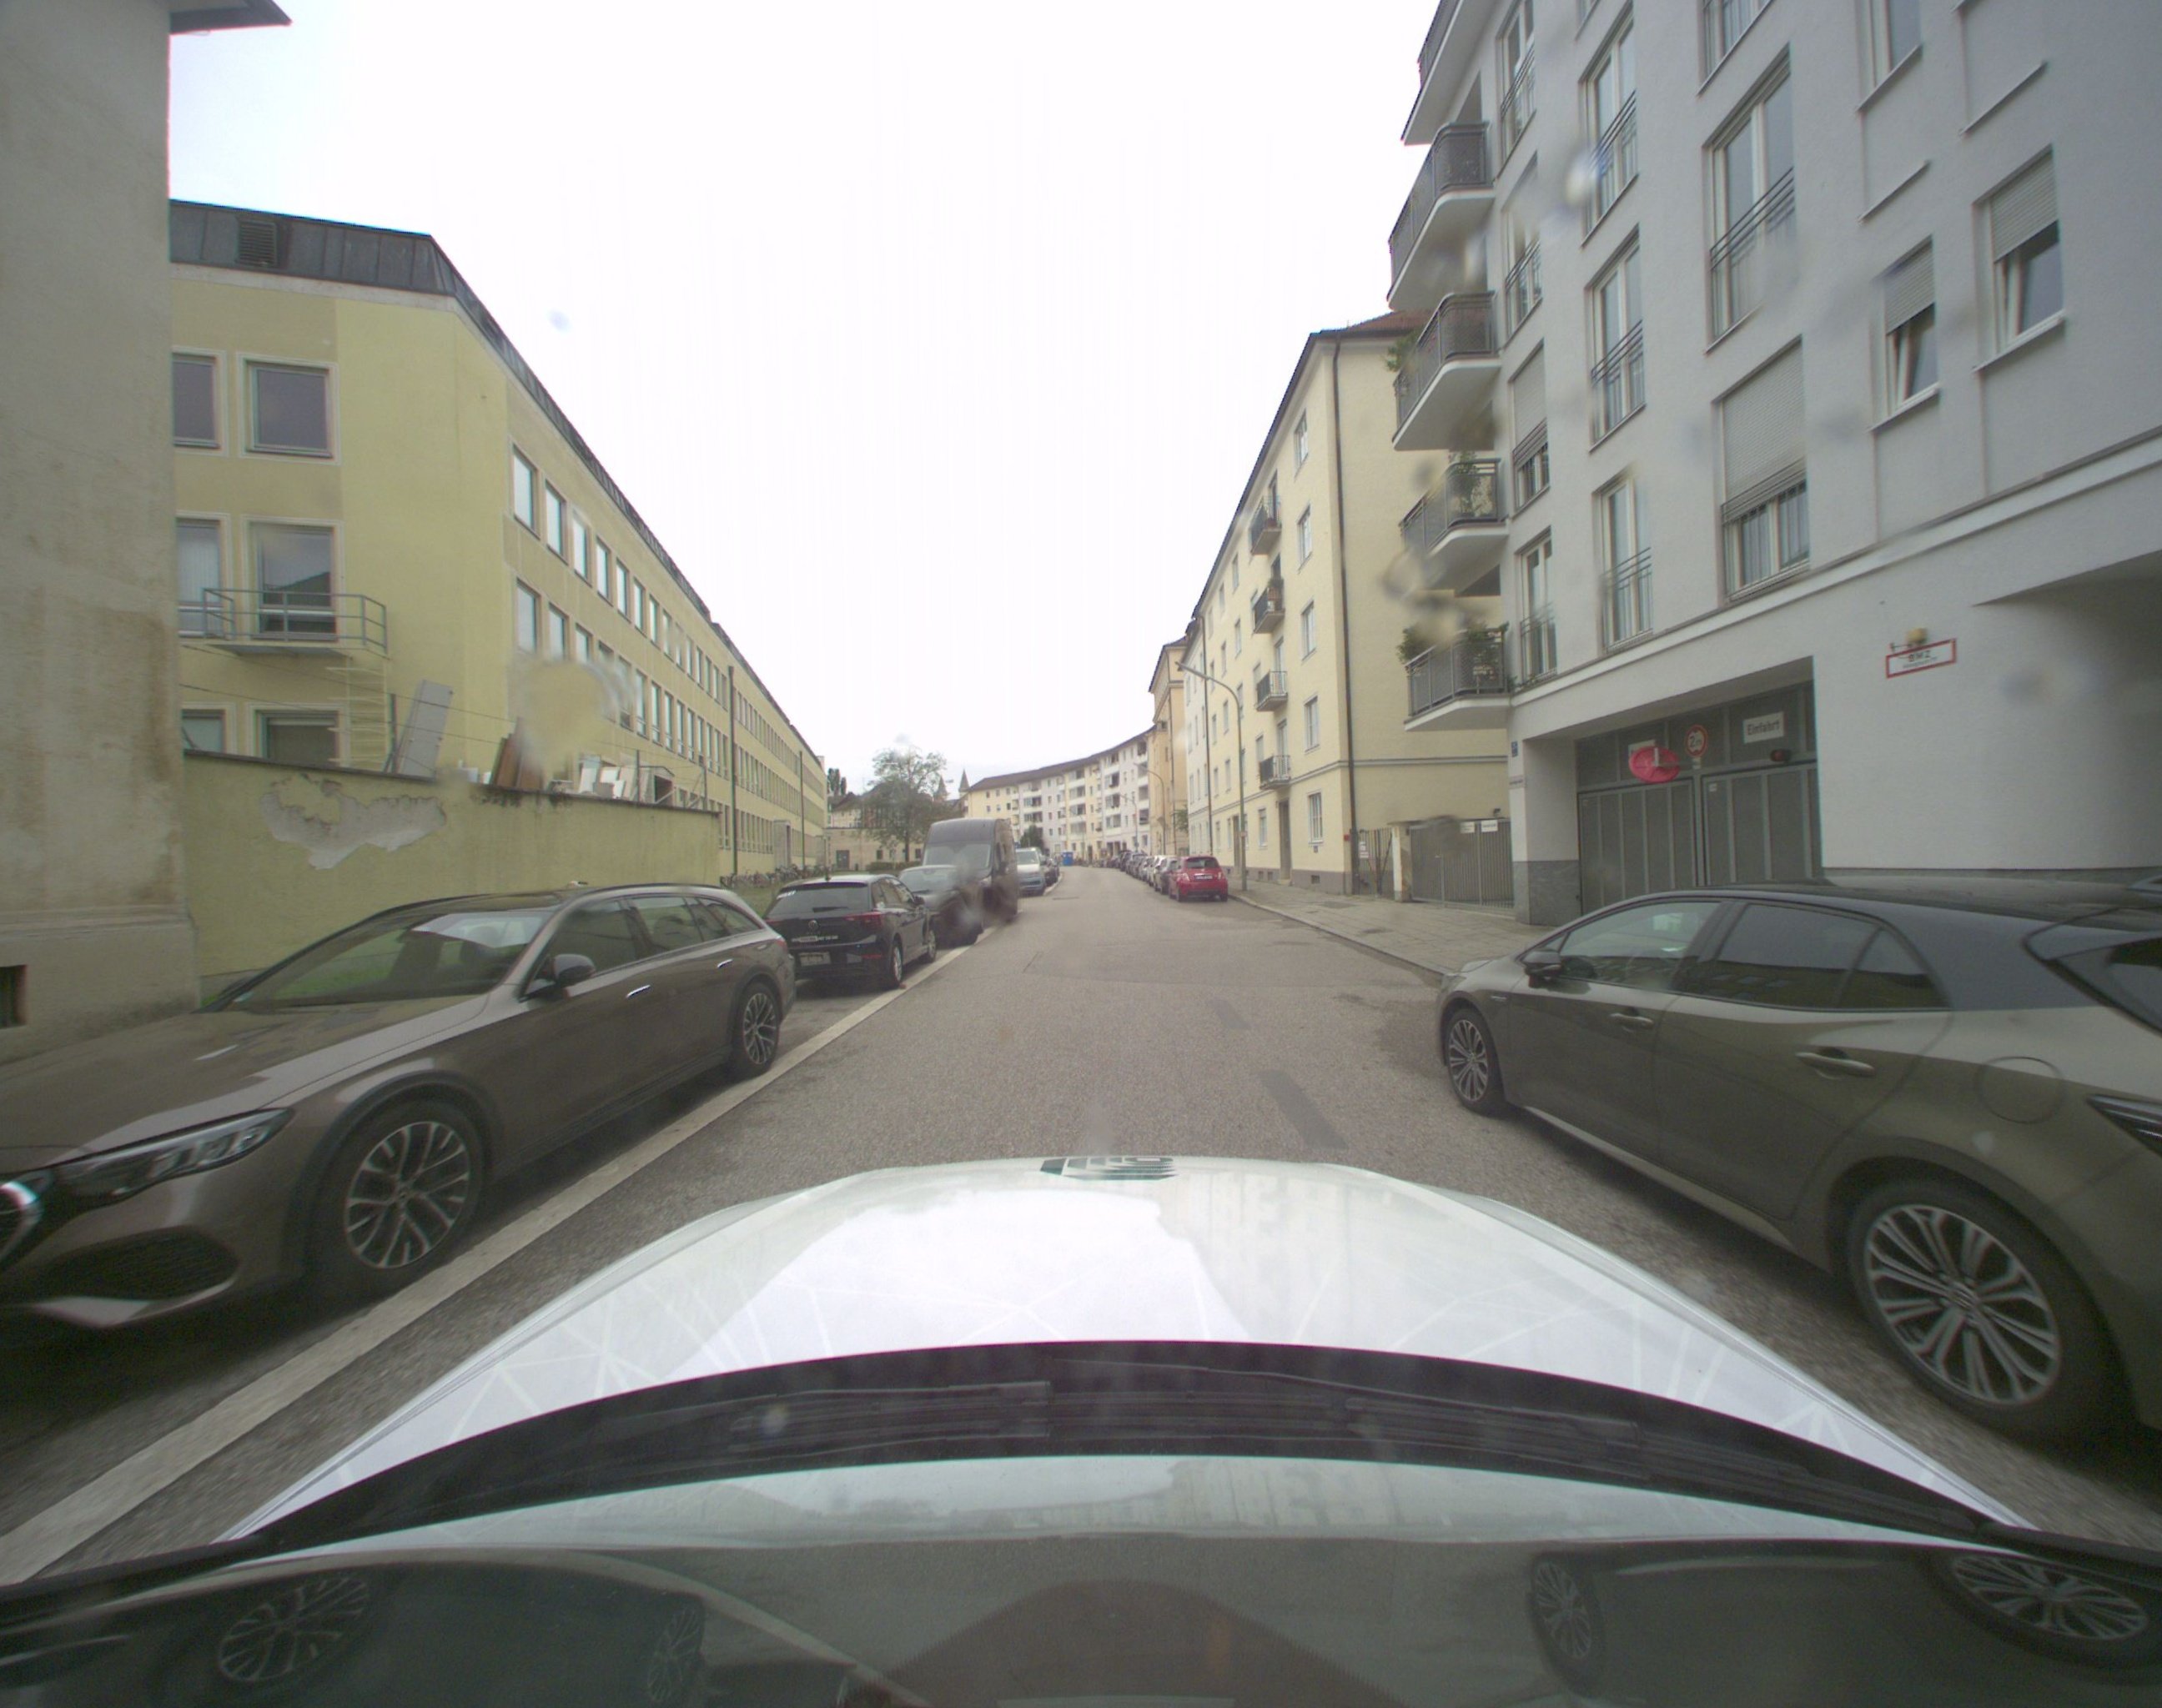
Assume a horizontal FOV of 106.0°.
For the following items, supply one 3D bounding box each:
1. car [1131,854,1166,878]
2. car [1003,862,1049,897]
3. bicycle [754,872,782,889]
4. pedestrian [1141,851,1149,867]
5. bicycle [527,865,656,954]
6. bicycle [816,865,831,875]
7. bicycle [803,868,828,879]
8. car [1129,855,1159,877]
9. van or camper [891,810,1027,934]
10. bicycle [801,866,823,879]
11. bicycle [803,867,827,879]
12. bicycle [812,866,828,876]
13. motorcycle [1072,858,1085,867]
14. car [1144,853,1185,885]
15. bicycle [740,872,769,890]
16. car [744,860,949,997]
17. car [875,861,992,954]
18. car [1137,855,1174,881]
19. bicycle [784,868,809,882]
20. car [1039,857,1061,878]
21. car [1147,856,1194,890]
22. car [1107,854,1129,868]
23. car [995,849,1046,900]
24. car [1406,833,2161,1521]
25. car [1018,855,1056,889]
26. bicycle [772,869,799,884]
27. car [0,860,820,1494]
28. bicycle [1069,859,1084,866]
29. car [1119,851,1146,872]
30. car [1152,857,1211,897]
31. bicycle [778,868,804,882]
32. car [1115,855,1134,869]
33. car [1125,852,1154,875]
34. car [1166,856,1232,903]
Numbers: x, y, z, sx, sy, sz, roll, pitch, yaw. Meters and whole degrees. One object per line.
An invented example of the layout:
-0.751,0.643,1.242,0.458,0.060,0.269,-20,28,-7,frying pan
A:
4.364,0.765,53.138,1.869,1.450,4.677,-1,0,0,car
-2.578,1.184,39.111,1.798,1.406,3.709,-4,0,1,car
-17.483,1.473,45.561,1.408,0.945,0.412,0,-1,-12,bicycle
6.931,0.500,88.127,0.615,1.690,0.919,-5,-1,0,pedestrian
-7.420,0.800,12.466,0.799,1.233,1.868,-2,-1,1,bicycle
-26.614,1.656,84.271,1.474,0.945,0.412,0,-1,-17,bicycle
-22.150,1.615,67.861,1.953,0.945,0.412,0,-1,-13,bicycle
4.466,0.844,58.294,1.821,1.450,4.084,-1,0,1,car
-2.942,0.413,21.173,2.284,2.651,5.565,-4,0,2,van or camper
-23.497,1.623,71.139,1.849,1.096,0.698,0,0,-17,bicycle
-22.365,1.571,68.475,1.863,0.945,0.412,0,-1,-18,bicycle
-25.238,1.661,78.823,1.410,0.945,0.412,0,-1,-17,bicycle
-0.370,1.309,122.263,0.936,1.221,2.487,-1,-1,-23,motorcycle
4.375,0.757,43.175,1.646,1.543,3.991,-1,0,-1,car
-17.629,1.451,43.995,1.403,0.945,0.414,0,-1,-3,bicycle
-3.049,0.876,11.535,1.671,1.436,4.284,-4,0,-2,car
-2.771,0.947,16.134,1.648,1.497,3.905,-4,0,-2,car
4.359,0.786,48.351,1.719,1.450,4.186,-1,0,-1,car
-20.126,1.491,57.599,1.611,0.945,0.499,0,0,-24,bicycle
-2.492,1.070,65.821,1.626,1.494,4.272,-4,0,-1,car
4.133,0.836,38.099,1.719,1.429,4.293,-1,0,0,car
4.103,0.794,89.899,1.904,1.477,4.940,-1,0,-4,car
-2.454,0.795,34.159,1.910,1.960,4.957,-1,0,-2,car
3.184,0.683,3.560,1.766,1.476,4.216,-2,0,-1,car
-2.347,0.941,44.456,1.709,1.689,4.141,-3,0,1,car
-19.242,1.487,53.049,1.608,0.945,0.500,0,0,-18,bicycle
-3.416,0.884,4.634,1.856,1.541,5.096,-3,0,3,car
-0.667,1.423,130.282,2.243,1.069,0.912,-1,-1,-24,bicycle
4.639,0.651,73.422,2.162,1.739,5.024,-1,0,1,car
3.930,0.860,32.526,1.767,1.429,4.614,-1,0,0,car
-19.670,1.412,55.271,1.608,0.945,0.500,0,0,-18,bicycle
4.429,0.792,83.631,1.627,1.417,3.676,-1,0,-2,car
4.502,0.691,63.157,1.841,1.663,4.496,-1,0,-1,car
3.918,0.812,27.548,1.649,1.429,3.755,-1,0,0,car
